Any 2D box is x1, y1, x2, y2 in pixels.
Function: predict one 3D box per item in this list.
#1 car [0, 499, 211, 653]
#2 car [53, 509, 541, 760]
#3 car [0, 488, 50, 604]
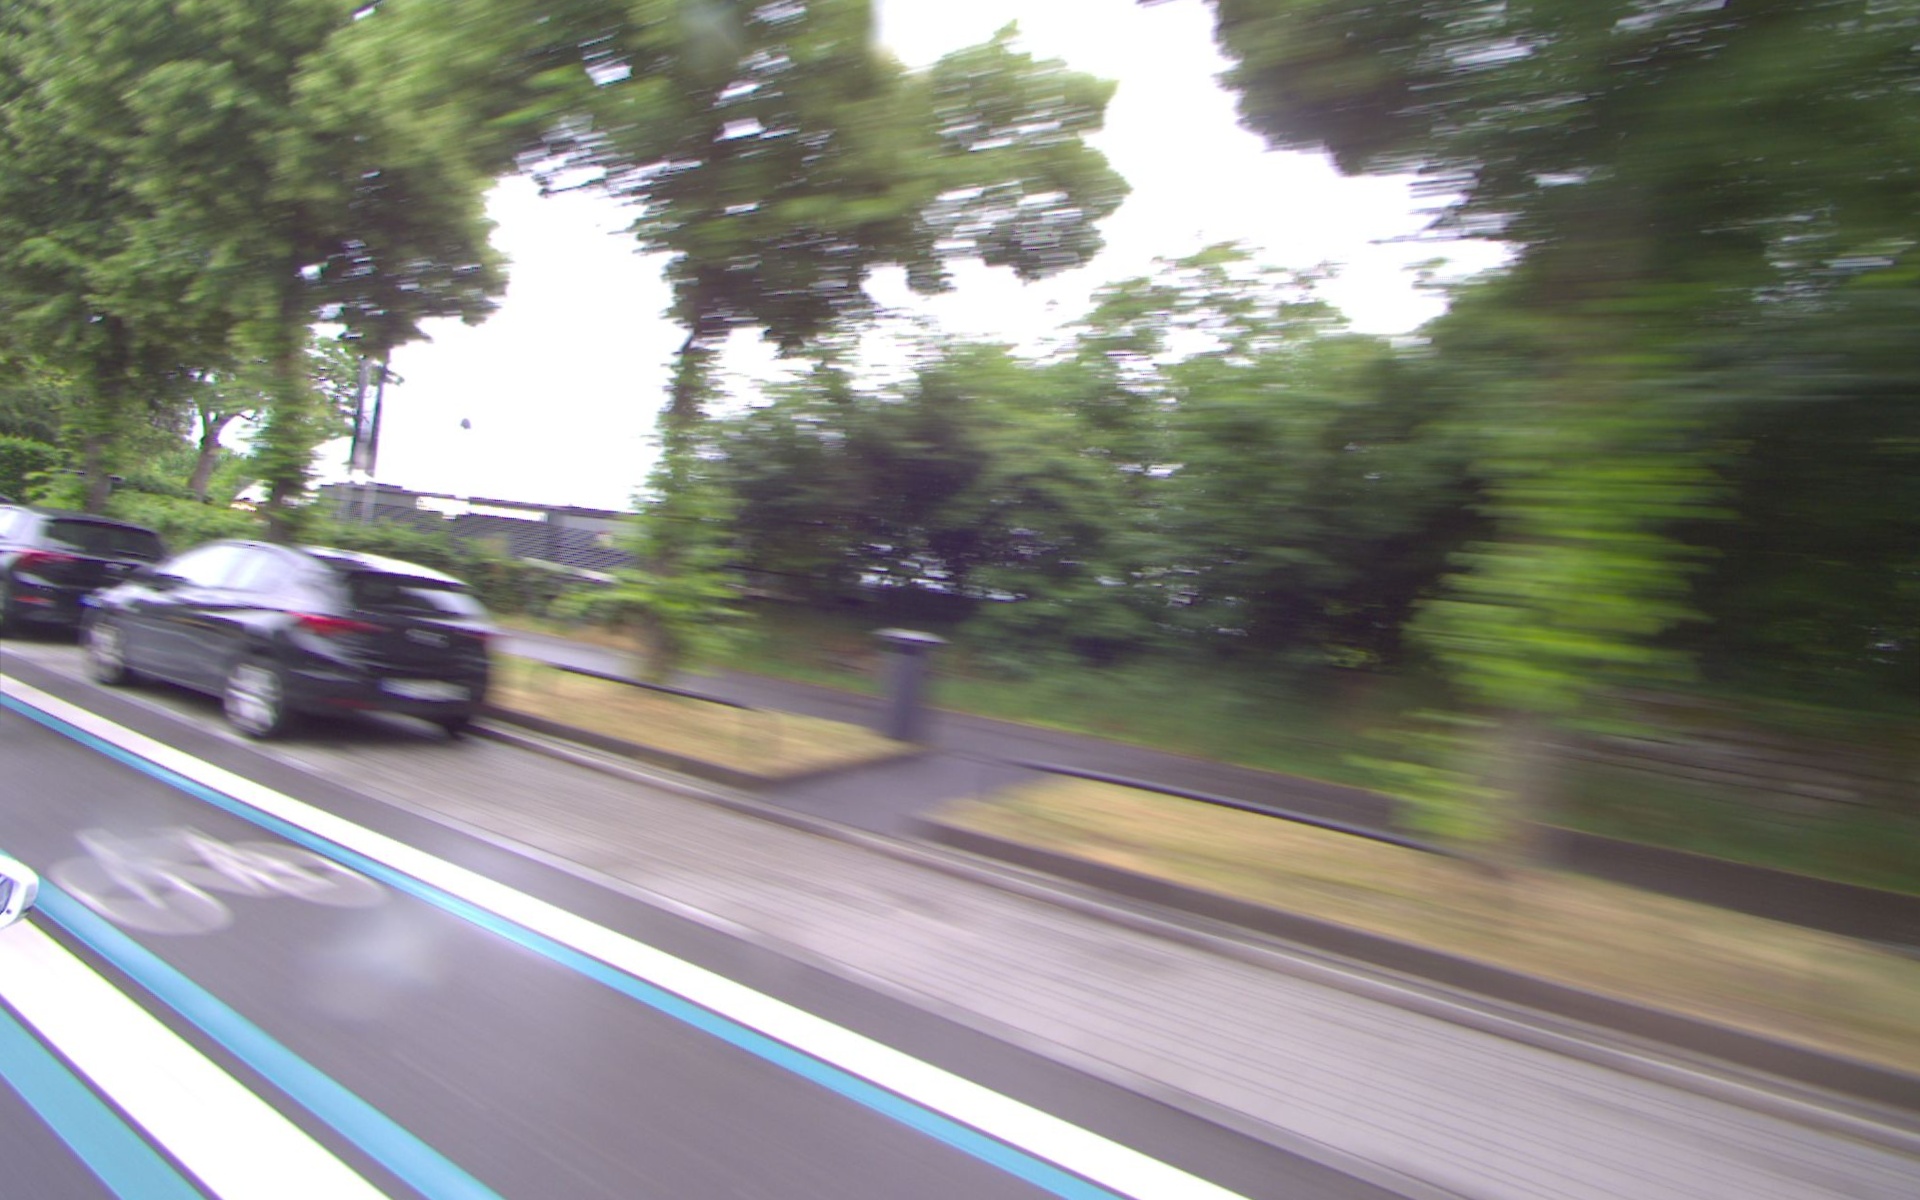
[{"bbox_3d":[-10.999,-0.397,12.030,4.003,1.480,1.735,7,-1,30],"label":"car"},{"bbox_3d":[-5.841,0.229,8.747,4.205,1.480,1.735,7,-1,30],"label":"car"},{"bbox_3d":[-15.542,-1.033,14.932,4.084,1.601,1.735,7,-2,30],"label":"car"}]
